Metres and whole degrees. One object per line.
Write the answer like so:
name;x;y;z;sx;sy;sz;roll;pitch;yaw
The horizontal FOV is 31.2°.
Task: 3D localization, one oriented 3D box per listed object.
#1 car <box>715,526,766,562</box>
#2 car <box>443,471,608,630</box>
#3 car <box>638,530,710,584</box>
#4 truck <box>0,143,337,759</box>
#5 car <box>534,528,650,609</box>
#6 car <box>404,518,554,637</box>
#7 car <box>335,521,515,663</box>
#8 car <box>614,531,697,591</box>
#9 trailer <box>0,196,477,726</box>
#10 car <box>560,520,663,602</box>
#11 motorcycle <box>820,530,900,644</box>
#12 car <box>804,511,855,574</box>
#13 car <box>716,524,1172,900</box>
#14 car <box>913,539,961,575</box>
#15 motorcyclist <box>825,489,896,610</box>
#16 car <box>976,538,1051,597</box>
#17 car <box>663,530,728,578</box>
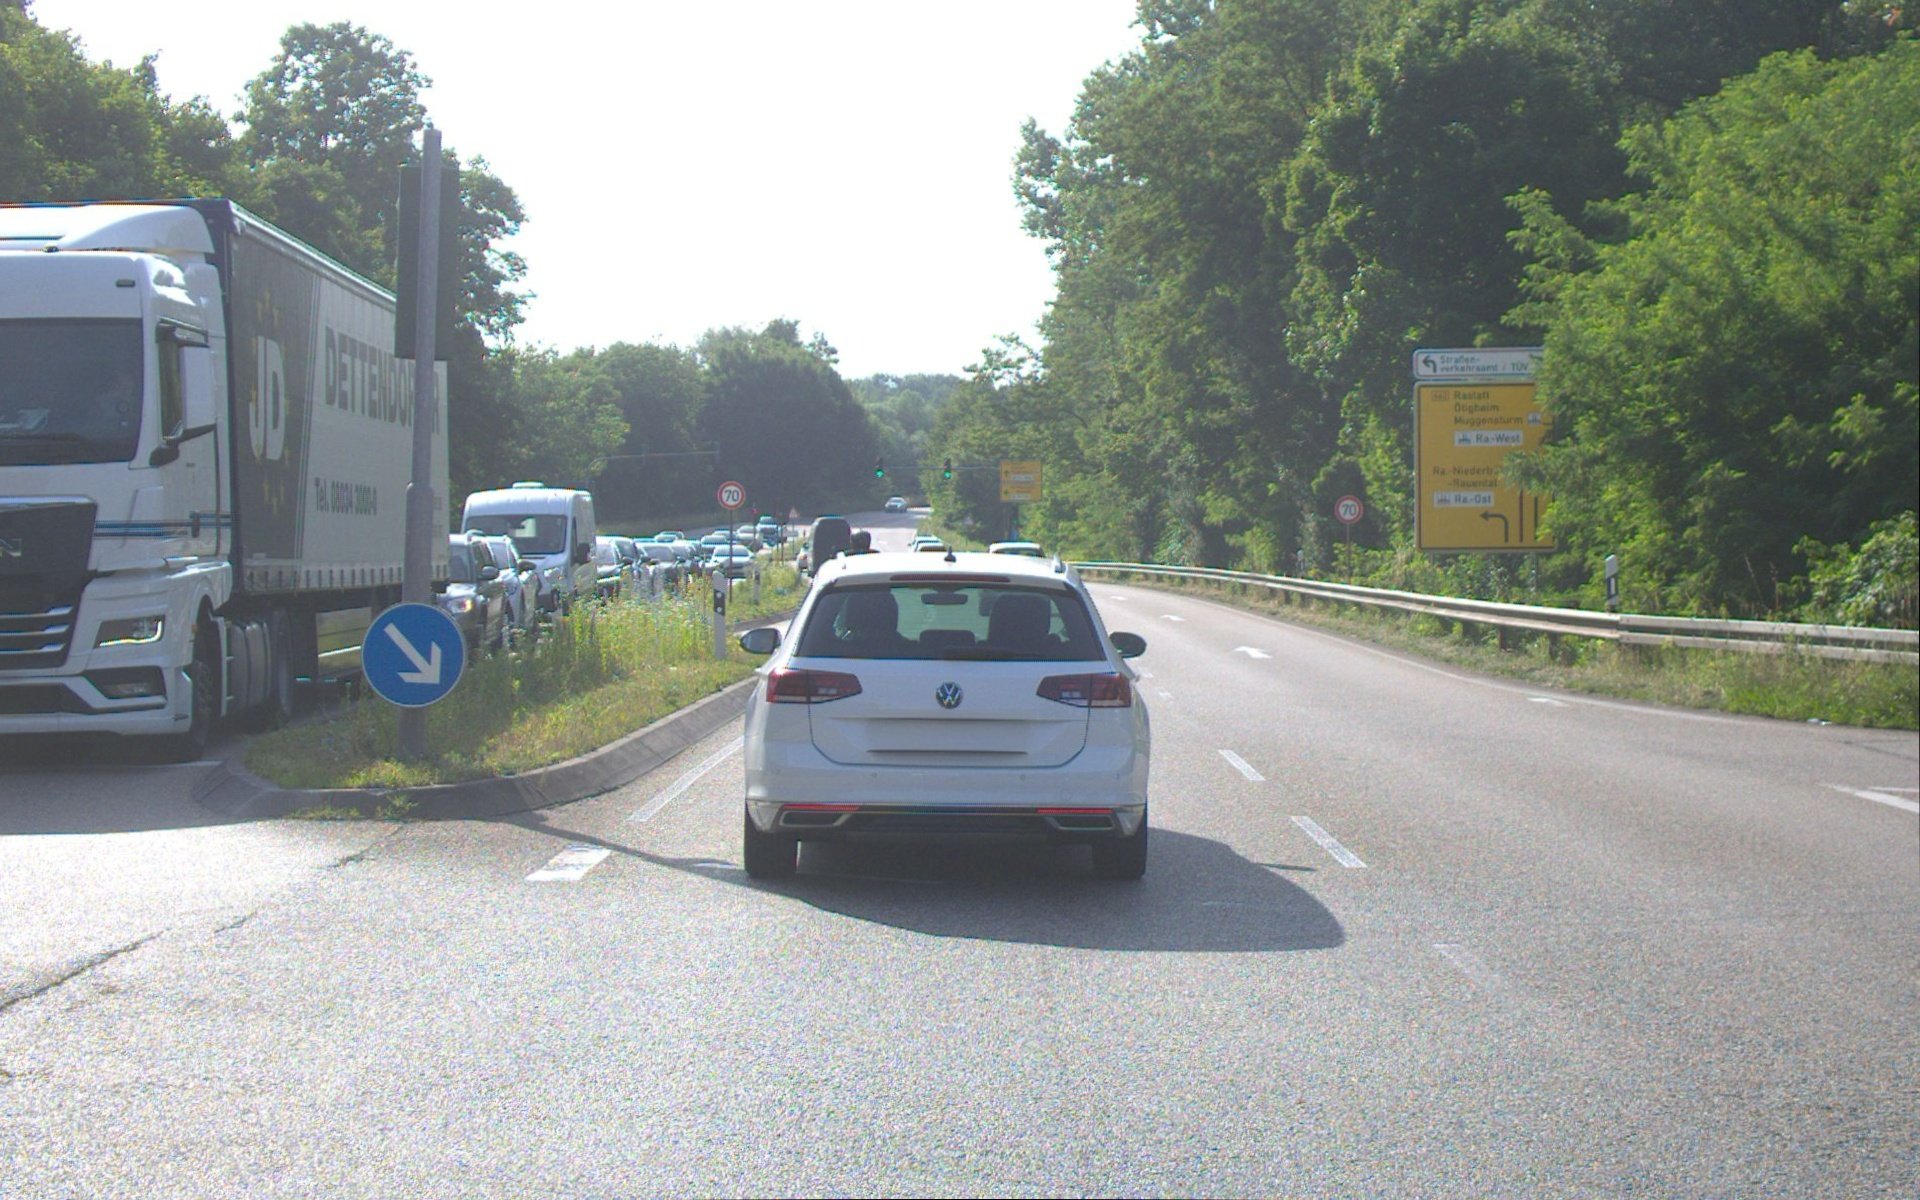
car;-8.989;-2.315;141.339;1.867;1.412;4.416;-1;2;-1
car;-7.301;-0.879;58.373;2.075;2.525;6.164;-1;2;-1
car;-7.927;-1.221;95.618;1.707;1.418;4.212;-1;2;-1
truck;-6.559;-1.049;25.600;2.890;3.983;6.723;0;1;-3
car;-7.078;-0.641;66.531;1.760;1.451;5.186;-1;2;-1
car;-7.015;-0.371;50.546;1.700;1.626;4.748;-1;2;-2
car;-6.584;-0.146;42.710;1.700;1.626;4.371;-1;2;-2
car;-7.817;-1.024;88.621;1.771;1.418;5.193;-1;2;-1
trailer;-6.837;-1.224;32.871;2.991;3.982;14.016;0;1;-2
car;-7.393;-0.862;73.325;1.771;1.663;4.801;-1;2;-1
motorcycle;-1.362;-0.201;47.248;0.909;1.448;2.689;-3;2;1
car;-6.131;-2.750;162.165;2.209;2.878;7.012;-1;2;-1
car;-0.142;0.414;16.685;1.870;1.516;4.835;1;1;-2
car;-1.029;-1.921;152.920;1.744;1.532;3.927;1;1;-5
motorcyclist;-1.360;-0.697;47.254;0.884;1.610;1.290;2;1;1
car;1.320;-0.833;85.889;1.761;1.375;3.972;1;1;0
car;-8.255;-1.449;107.532;1.767;1.412;4.434;-1;2;-1
